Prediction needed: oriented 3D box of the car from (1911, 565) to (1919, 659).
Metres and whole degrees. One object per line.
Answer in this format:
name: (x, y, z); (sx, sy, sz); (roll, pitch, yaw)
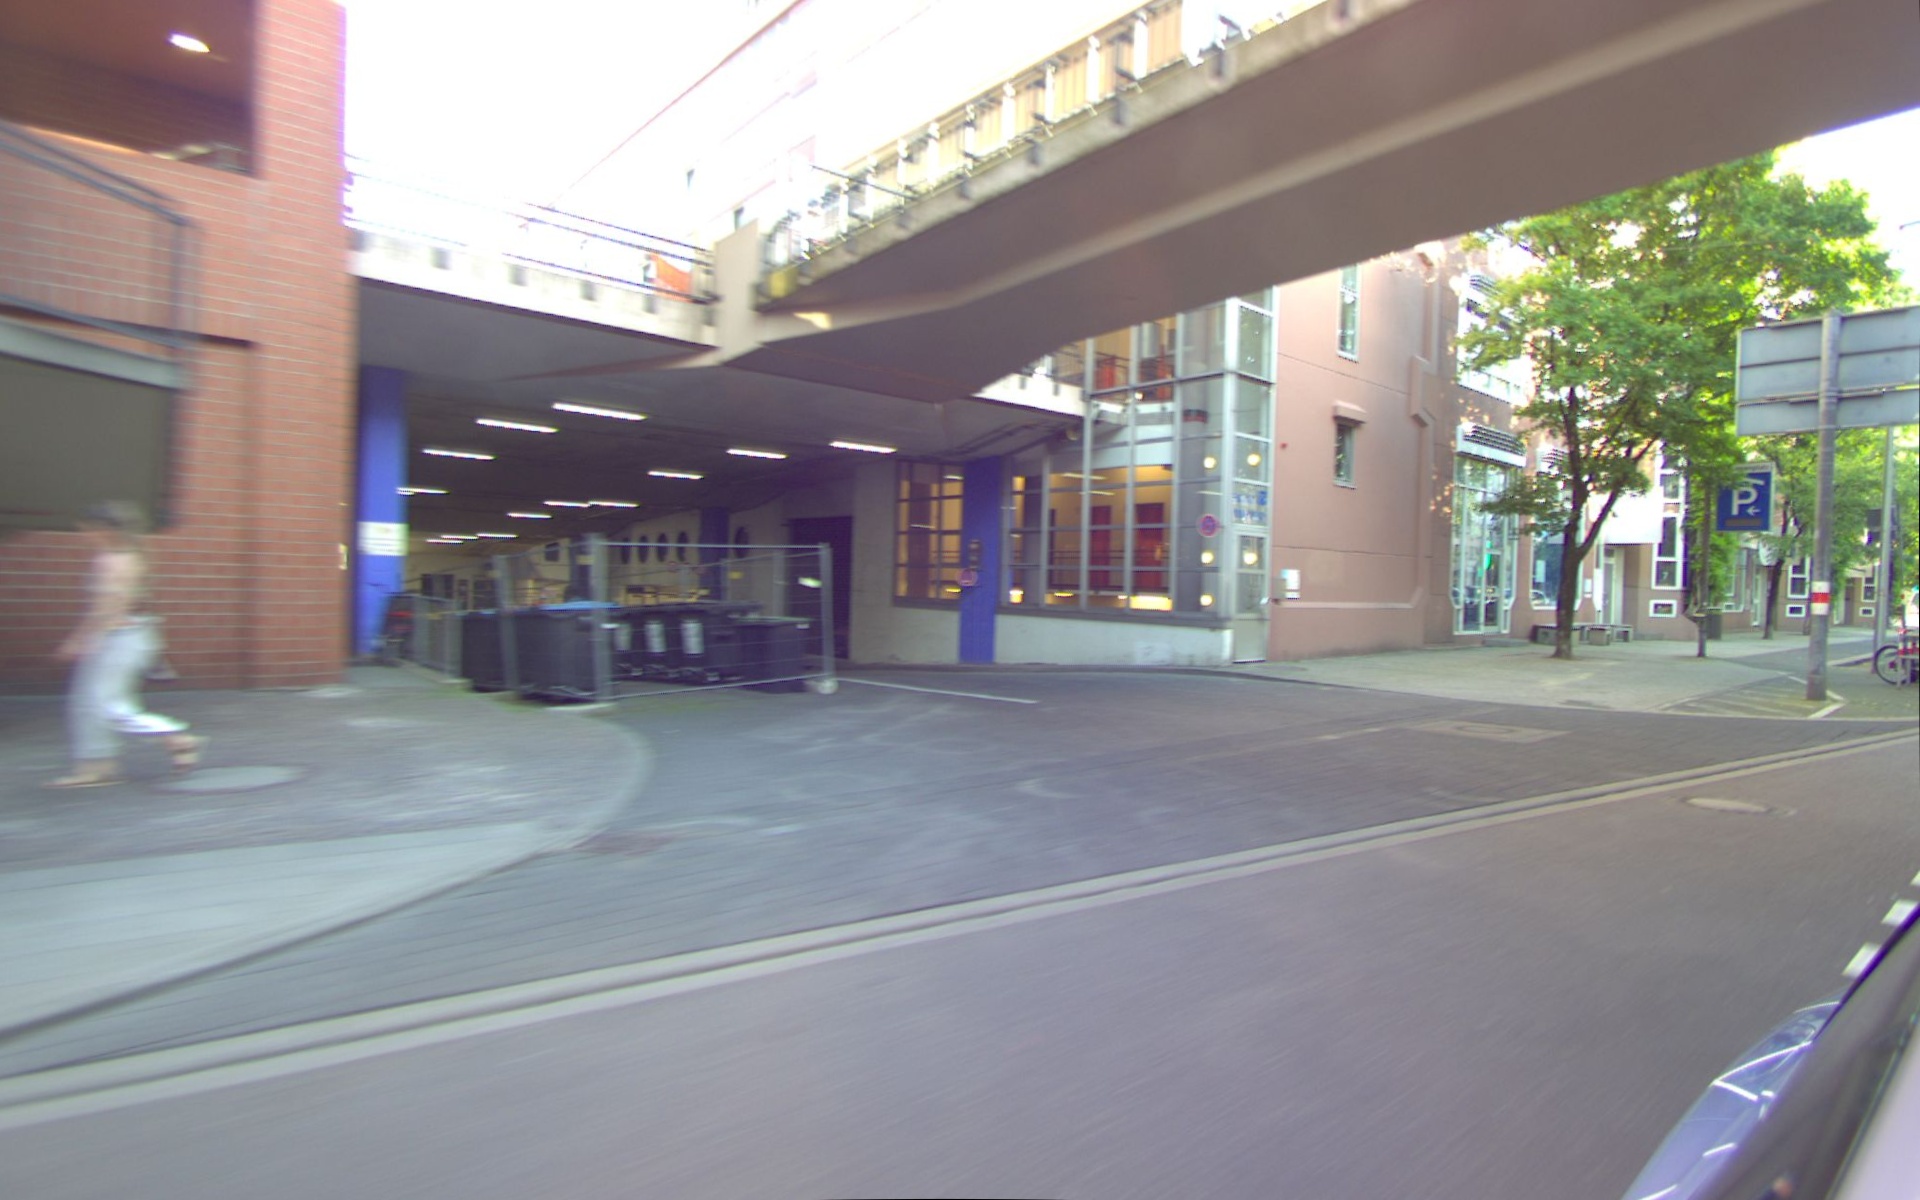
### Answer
car: (23.883, 0.284, 23.663); (5.080, 2.104, 1.922); (0, 1, -42)

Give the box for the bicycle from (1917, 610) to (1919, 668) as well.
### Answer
bicycle: (18.186, 0.731, 17.985); (0.500, 1.081, 1.686); (0, 0, -17)

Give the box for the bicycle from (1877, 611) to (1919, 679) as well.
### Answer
bicycle: (15.713, 0.727, 16.151); (0.490, 1.081, 1.685); (0, 0, -7)

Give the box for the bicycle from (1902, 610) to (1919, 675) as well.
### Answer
bicycle: (16.514, 0.729, 16.556); (0.490, 1.081, 1.685); (0, 0, -7)

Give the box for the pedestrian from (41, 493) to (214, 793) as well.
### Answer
pedestrian: (-4.969, 0.234, 6.057); (0.764, 1.654, 0.570); (0, 0, -42)
